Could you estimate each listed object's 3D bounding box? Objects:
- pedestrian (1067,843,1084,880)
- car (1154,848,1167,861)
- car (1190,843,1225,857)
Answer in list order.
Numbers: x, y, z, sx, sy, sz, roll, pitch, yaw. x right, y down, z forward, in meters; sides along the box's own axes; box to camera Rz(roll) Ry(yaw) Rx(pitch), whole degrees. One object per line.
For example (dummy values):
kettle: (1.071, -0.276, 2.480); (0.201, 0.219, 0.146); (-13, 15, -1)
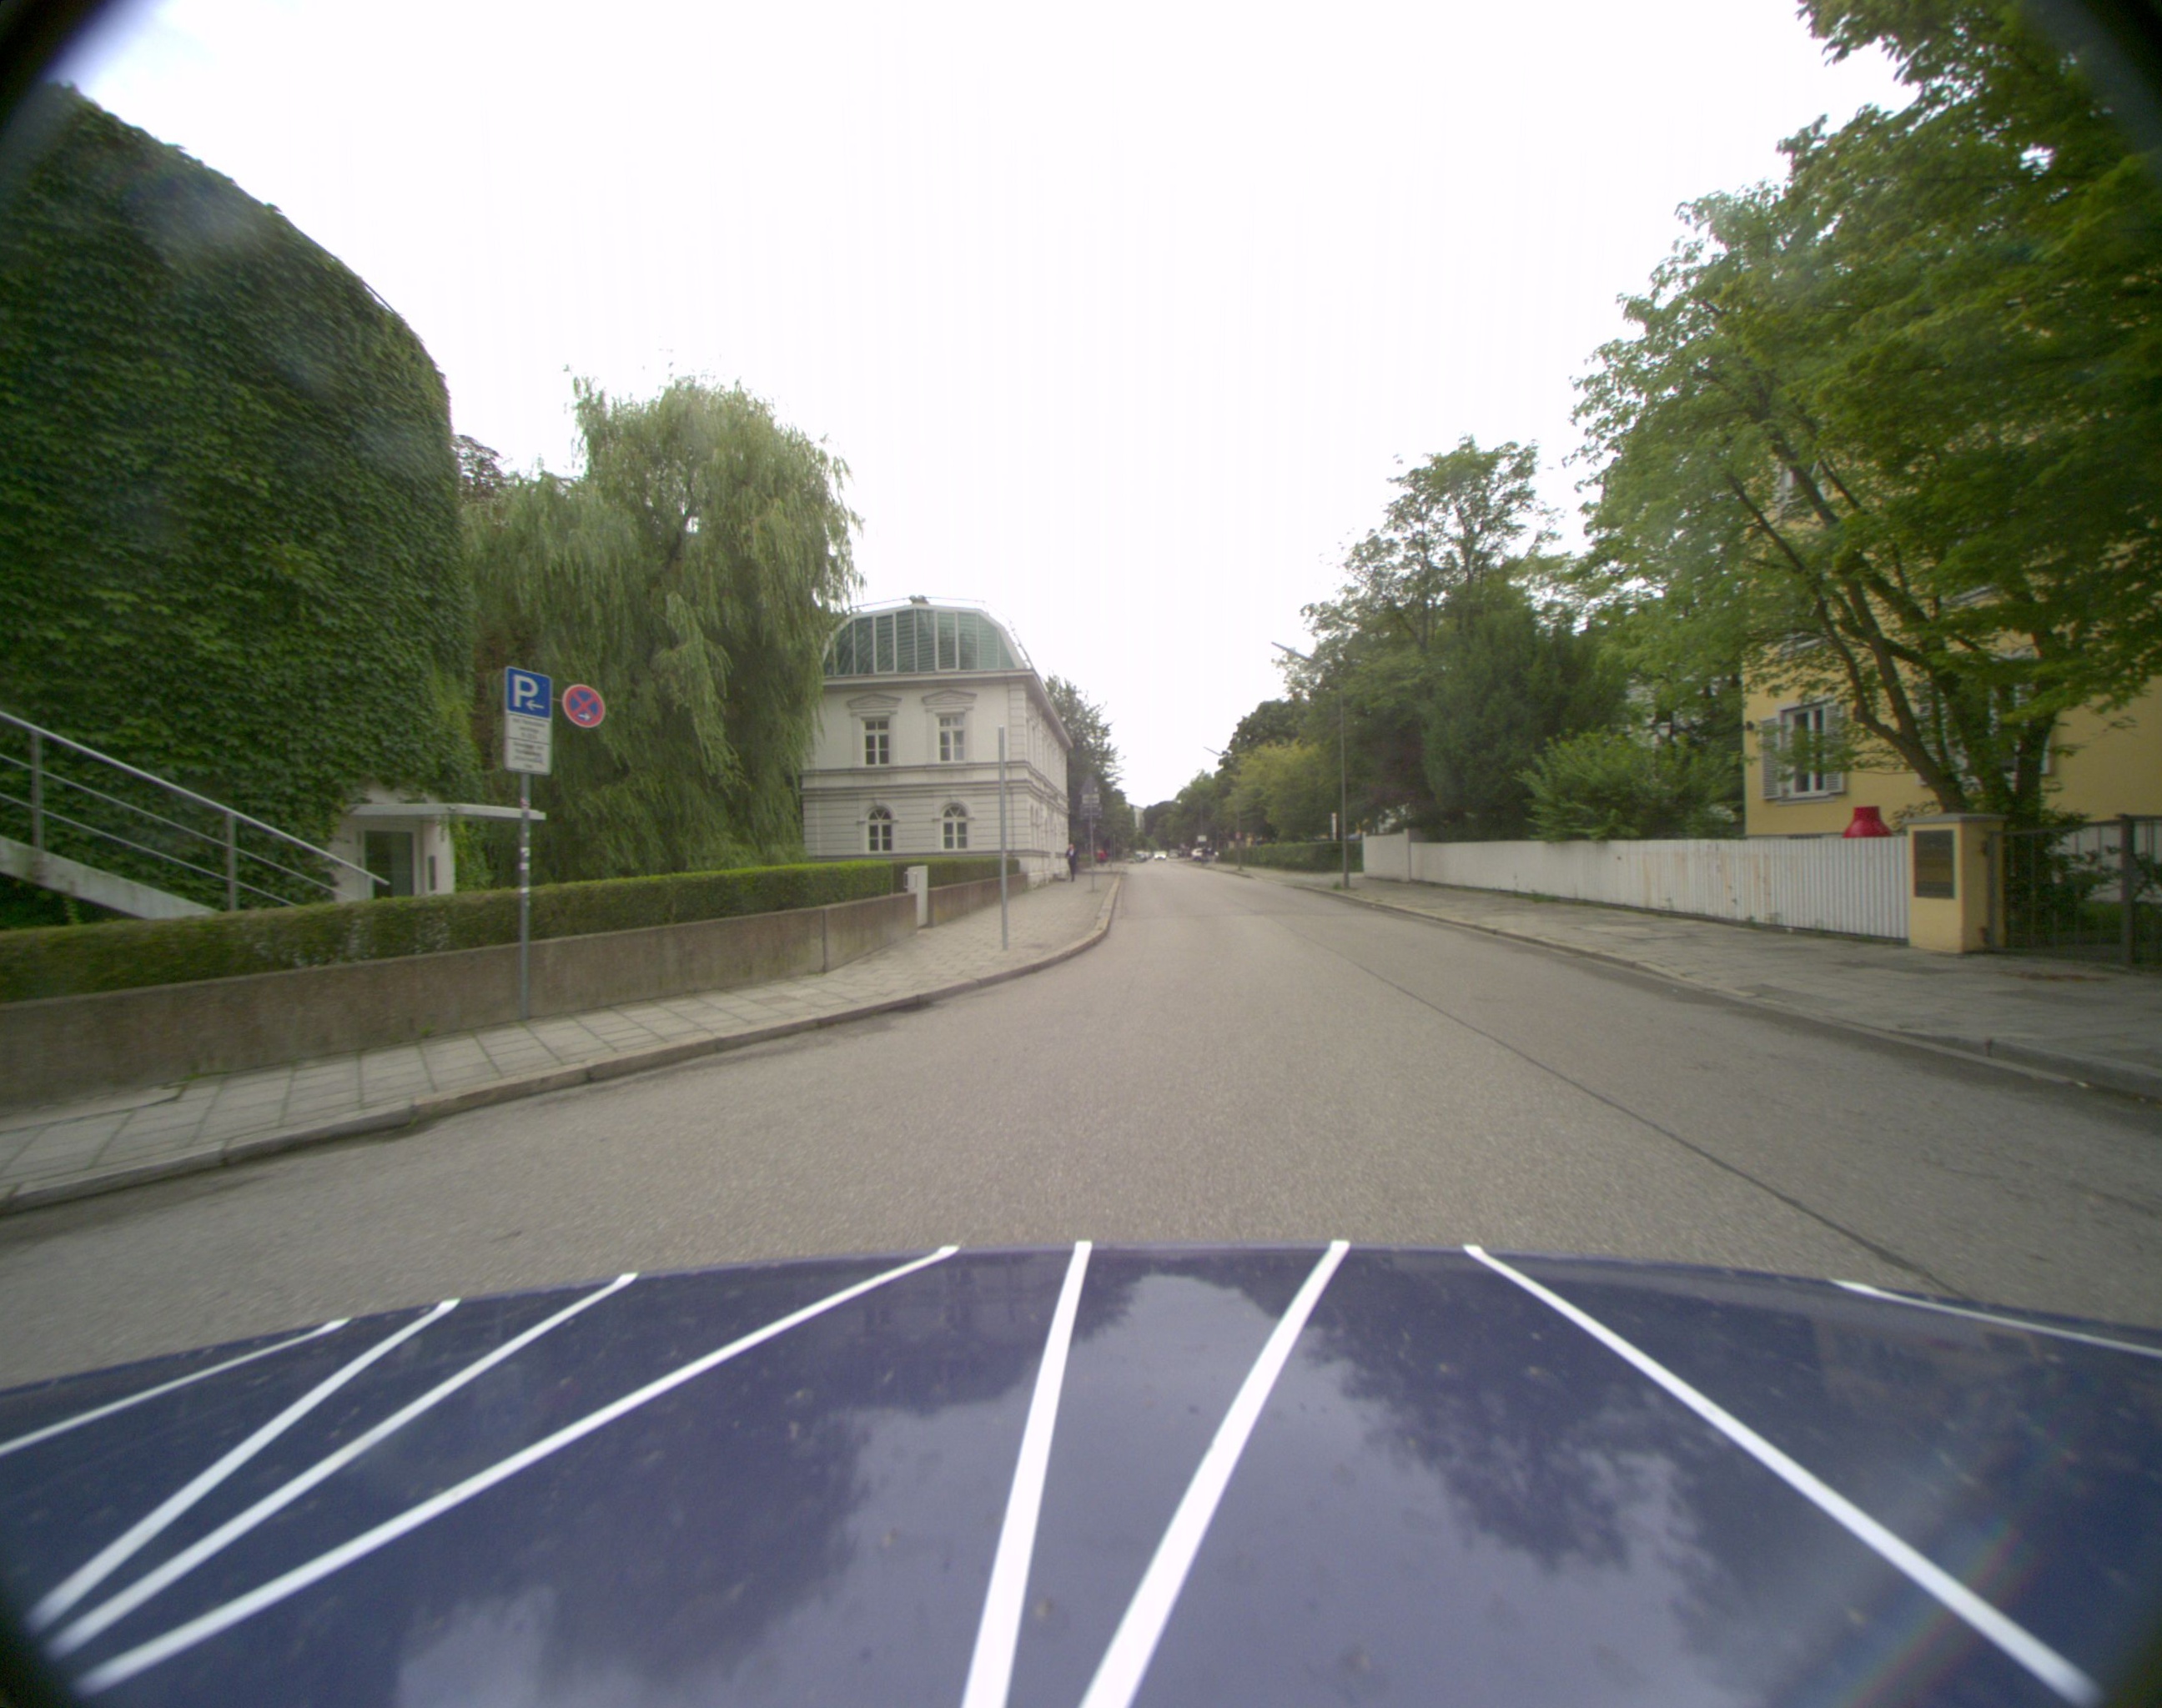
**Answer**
pedestrian: (-0.231, 0.342, 34.982); (0.679, 1.696, 0.768); (-1, 1, 6)
car: (13.378, 0.077, 128.128); (1.998, 2.002, 4.000); (-2, 1, 4)
car: (16.301, -0.520, 97.783); (4.125, 1.604, 1.864); (-2, 1, 23)
